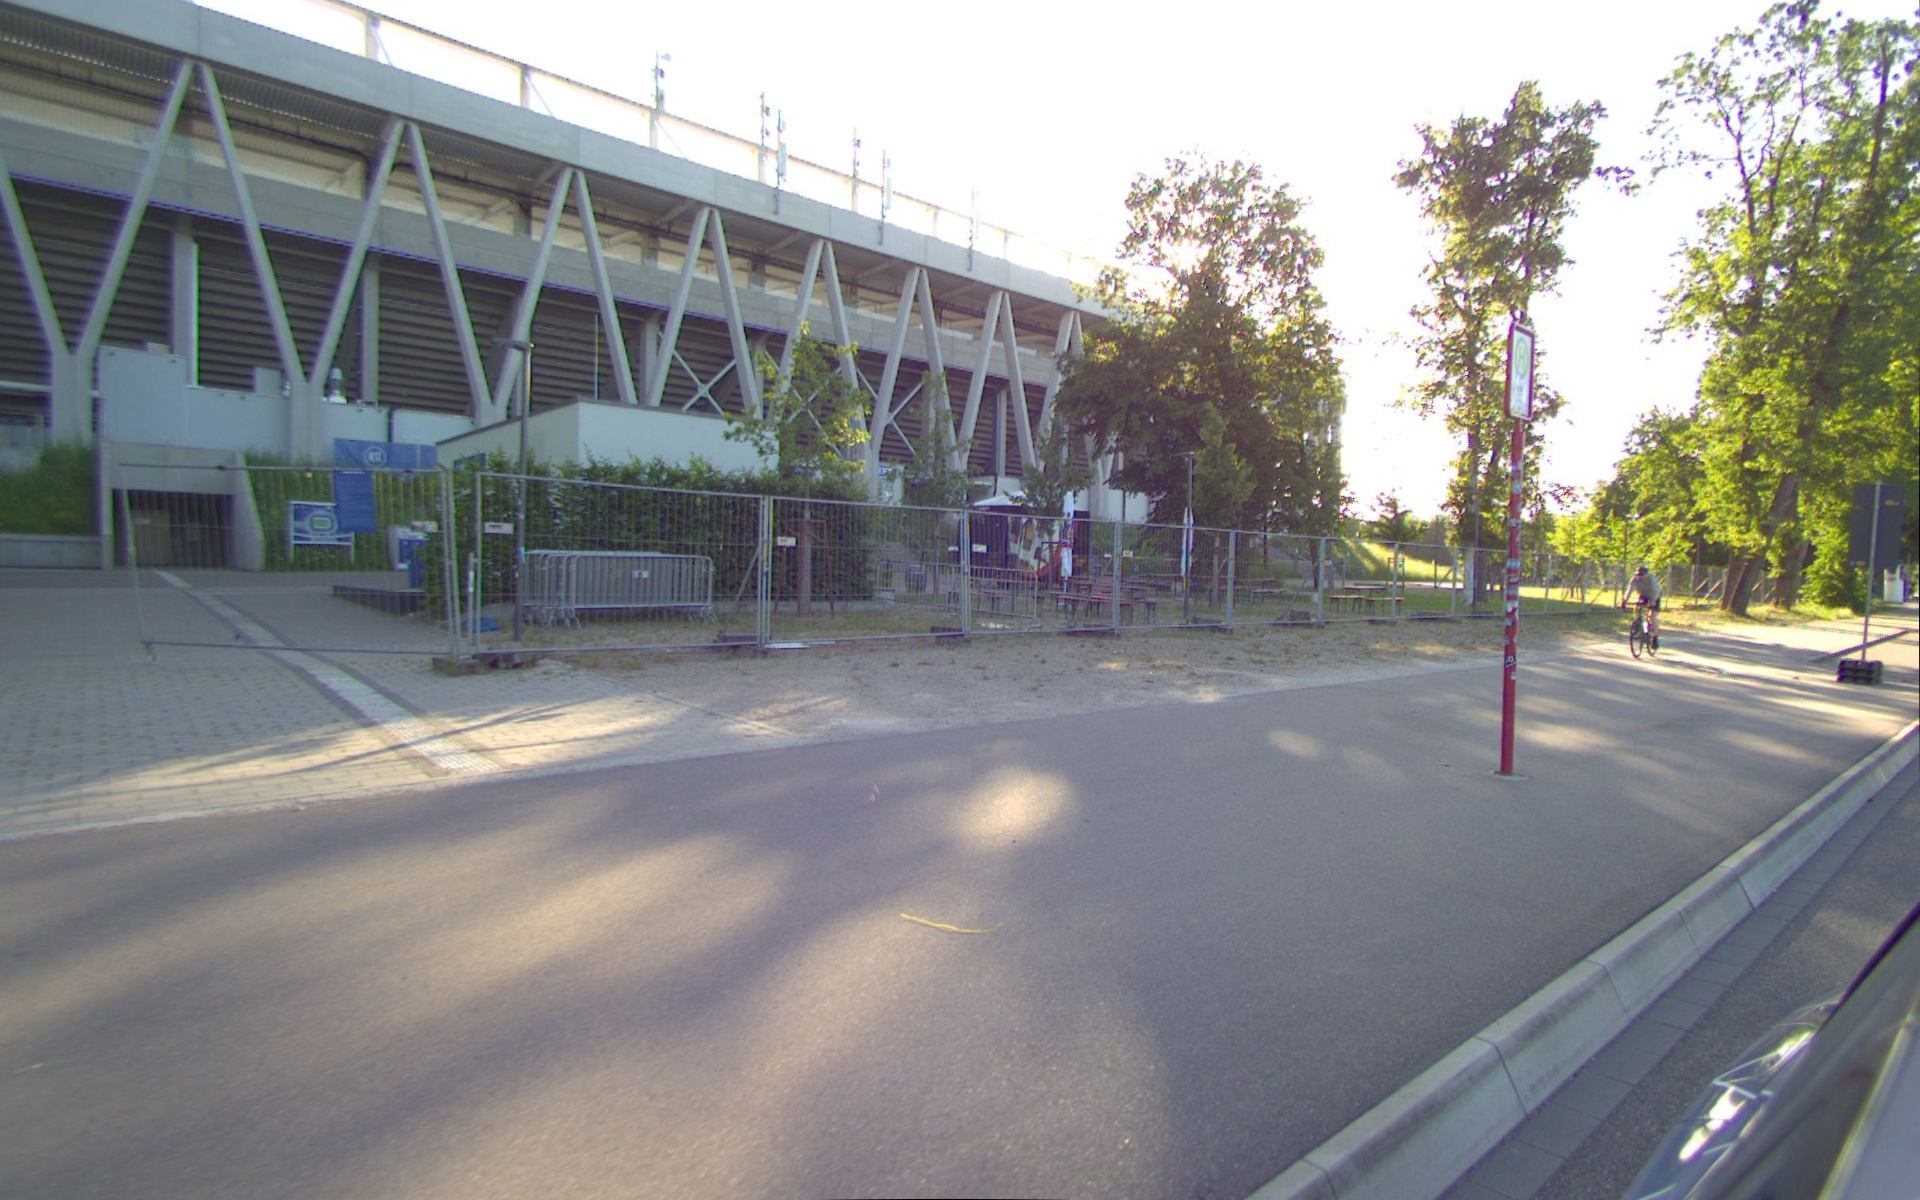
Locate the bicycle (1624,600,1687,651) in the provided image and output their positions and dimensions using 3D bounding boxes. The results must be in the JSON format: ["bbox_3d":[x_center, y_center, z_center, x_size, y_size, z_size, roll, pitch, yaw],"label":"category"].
[{"bbox_3d":[12.789,0.451,18.590,1.876,0.869,0.480,-1,2,-41],"label":"bicycle"}]

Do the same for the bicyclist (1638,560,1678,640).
[{"bbox_3d":[12.828,-0.001,18.599,0.565,1.438,0.451,-1,2,-41],"label":"bicyclist"}]
